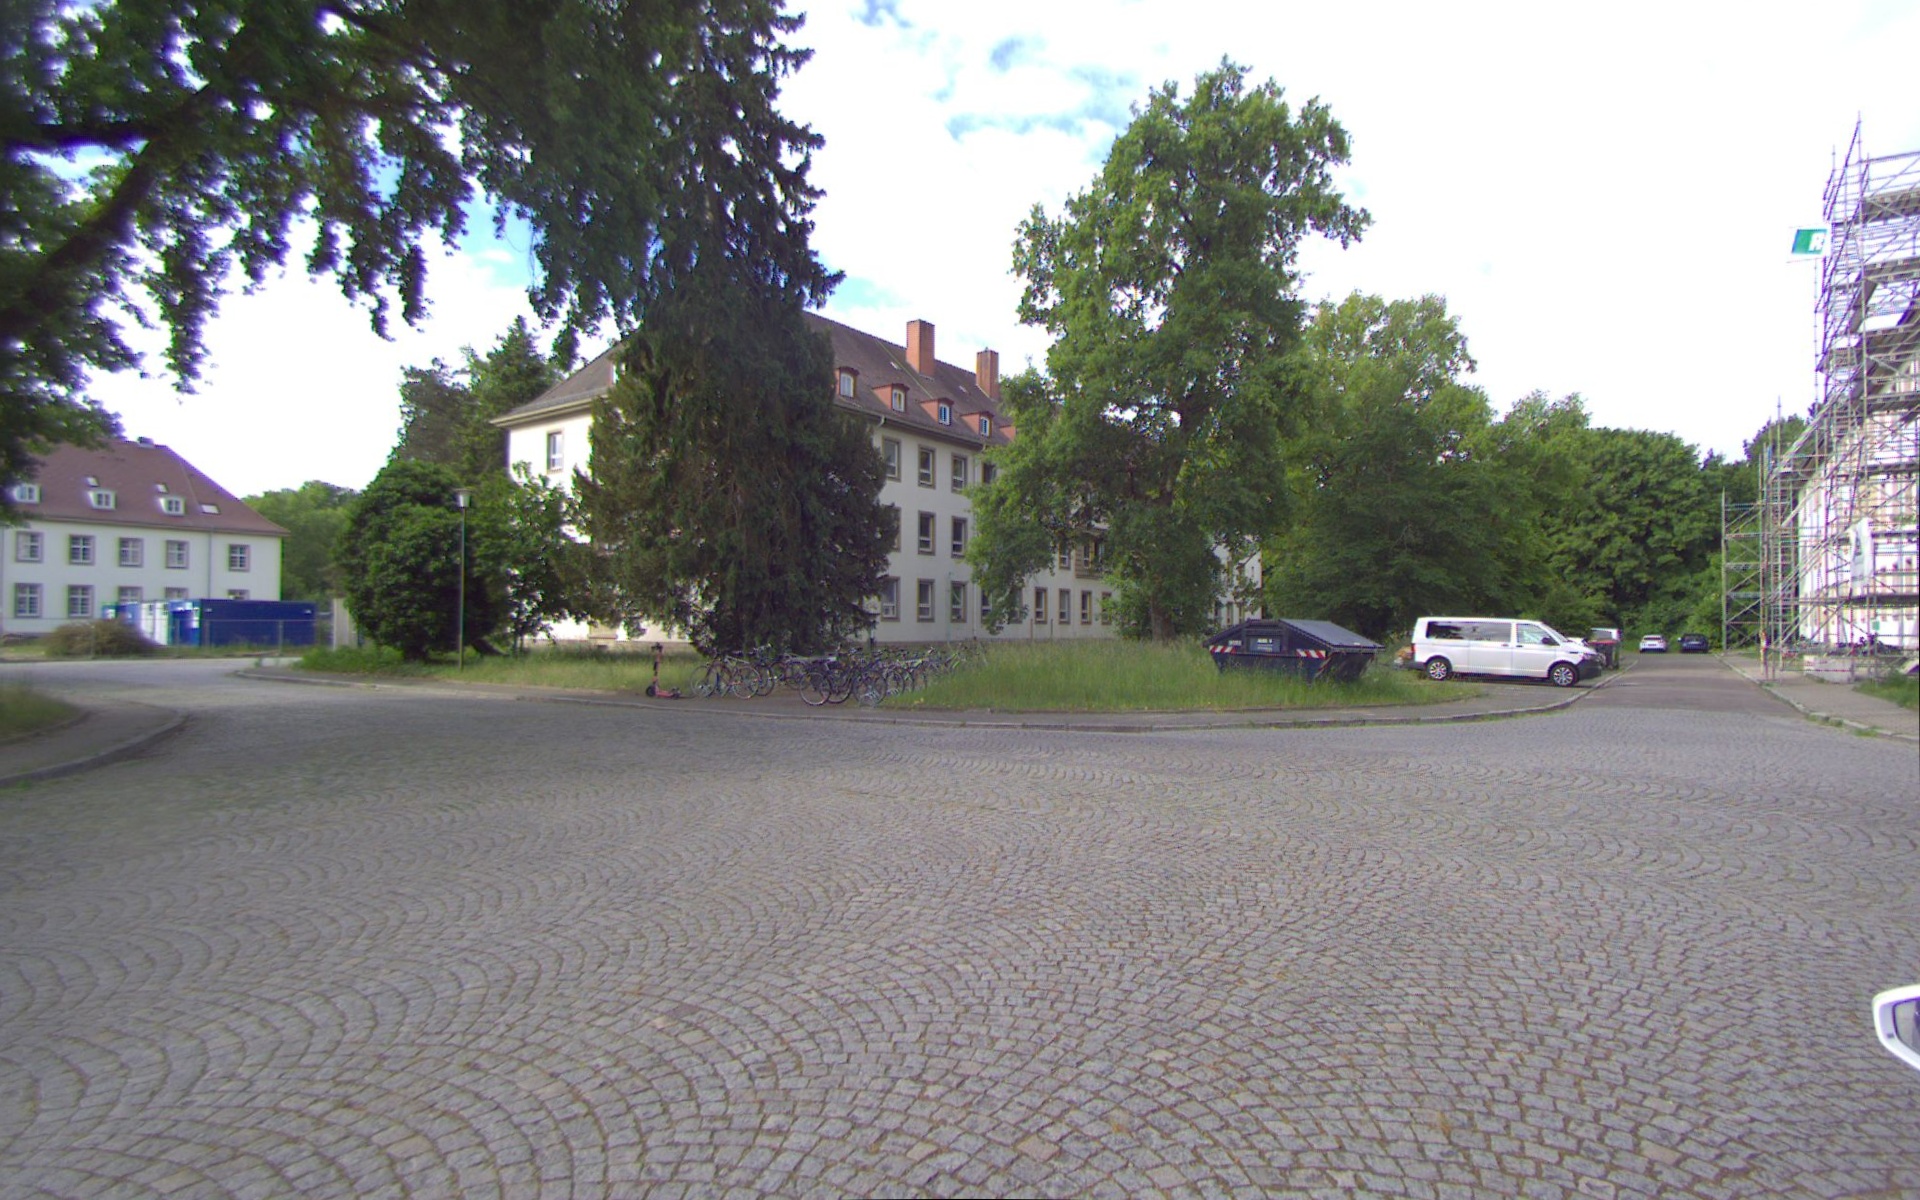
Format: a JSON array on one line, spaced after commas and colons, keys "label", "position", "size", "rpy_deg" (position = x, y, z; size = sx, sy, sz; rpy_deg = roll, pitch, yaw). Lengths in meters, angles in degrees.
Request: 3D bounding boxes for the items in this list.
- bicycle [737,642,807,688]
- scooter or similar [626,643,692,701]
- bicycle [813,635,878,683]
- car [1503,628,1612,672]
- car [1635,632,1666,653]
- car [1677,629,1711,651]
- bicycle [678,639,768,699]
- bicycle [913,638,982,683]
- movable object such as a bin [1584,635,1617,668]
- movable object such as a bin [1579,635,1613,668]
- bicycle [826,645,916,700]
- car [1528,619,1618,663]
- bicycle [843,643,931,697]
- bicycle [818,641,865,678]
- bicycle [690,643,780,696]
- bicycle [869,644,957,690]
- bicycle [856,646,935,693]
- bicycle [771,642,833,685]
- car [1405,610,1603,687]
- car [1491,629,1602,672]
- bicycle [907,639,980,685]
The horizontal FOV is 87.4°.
[{"label": "bicycle", "position": [-4.582, 1.579, 24.501], "size": [1.597, 1.088, 0.540], "rpy_deg": [0, 1, 7]}, {"label": "scooter or similar", "position": [-6.709, 1.575, 22.346], "size": [1.529, 1.211, 0.679], "rpy_deg": [-2, -1, 40]}, {"label": "bicycle", "position": [-3.012, 1.549, 26.425], "size": [1.610, 1.201, 0.574], "rpy_deg": [0, 1, 11]}, {"label": "car", "position": [25.502, 2.123, 42.926], "size": [3.641, 1.613, 1.754], "rpy_deg": [3, -1, 44]}, {"label": "car", "position": [57.027, 3.515, 82.974], "size": [1.974, 1.568, 3.948], "rpy_deg": [3, -1, 33]}, {"label": "car", "position": [59.615, 3.280, 81.553], "size": [2.038, 1.614, 3.983], "rpy_deg": [3, -1, 39]}, {"label": "bicycle", "position": [-5.266, 1.525, 22.324], "size": [1.863, 1.239, 0.644], "rpy_deg": [0, 1, 18]}, {"label": "bicycle", "position": [-0.318, 1.563, 26.015], "size": [1.668, 1.131, 0.542], "rpy_deg": [-1, 0, 18]}, {"label": "movable object such as a bin", "position": [29.341, 2.360, 46.025], "size": [1.168, 1.425, 0.972], "rpy_deg": [3, -1, 37]}, {"label": "movable object such as a bin", "position": [28.581, 2.308, 45.136], "size": [1.168, 1.425, 0.972], "rpy_deg": [3, -1, 37]}, {"label": "bicycle", "position": [-1.890, 1.536, 21.415], "size": [1.738, 1.118, 0.703], "rpy_deg": [-1, 0, 18]}, {"label": "car", "position": [32.502, 2.152, 53.316], "size": [3.931, 2.040, 1.917], "rpy_deg": [3, -1, 33]}, {"label": "bicycle", "position": [-1.605, 1.530, 22.097], "size": [1.763, 1.118, 0.703], "rpy_deg": [-1, 0, 18]}, {"label": "bicycle", "position": [-3.351, 1.683, 28.347], "size": [1.238, 1.042, 0.434], "rpy_deg": [-1, -4, 18]}, {"label": "bicycle", "position": [-5.157, 1.574, 23.003], "size": [1.952, 1.129, 0.644], "rpy_deg": [0, 1, 18]}, {"label": "bicycle", "position": [-1.106, 1.563, 23.620], "size": [1.921, 1.018, 0.686], "rpy_deg": [-1, 0, 18]}, {"label": "bicycle", "position": [-1.470, 1.574, 22.819], "size": [1.663, 1.015, 0.632], "rpy_deg": [-1, 0, 18]}, {"label": "bicycle", "position": [-4.071, 1.627, 25.865], "size": [1.485, 1.049, 0.545], "rpy_deg": [0, 1, 7]}, {"label": "car", "position": [16.731, 1.435, 31.025], "size": [5.132, 2.087, 2.181], "rpy_deg": [1, -1, 36]}, {"label": "car", "position": [24.142, 2.079, 41.425], "size": [3.590, 1.500, 1.810], "rpy_deg": [3, -1, 45]}, {"label": "bicycle", "position": [-0.423, 1.563, 25.470], "size": [1.741, 1.120, 0.542], "rpy_deg": [-1, 0, 18]}]
